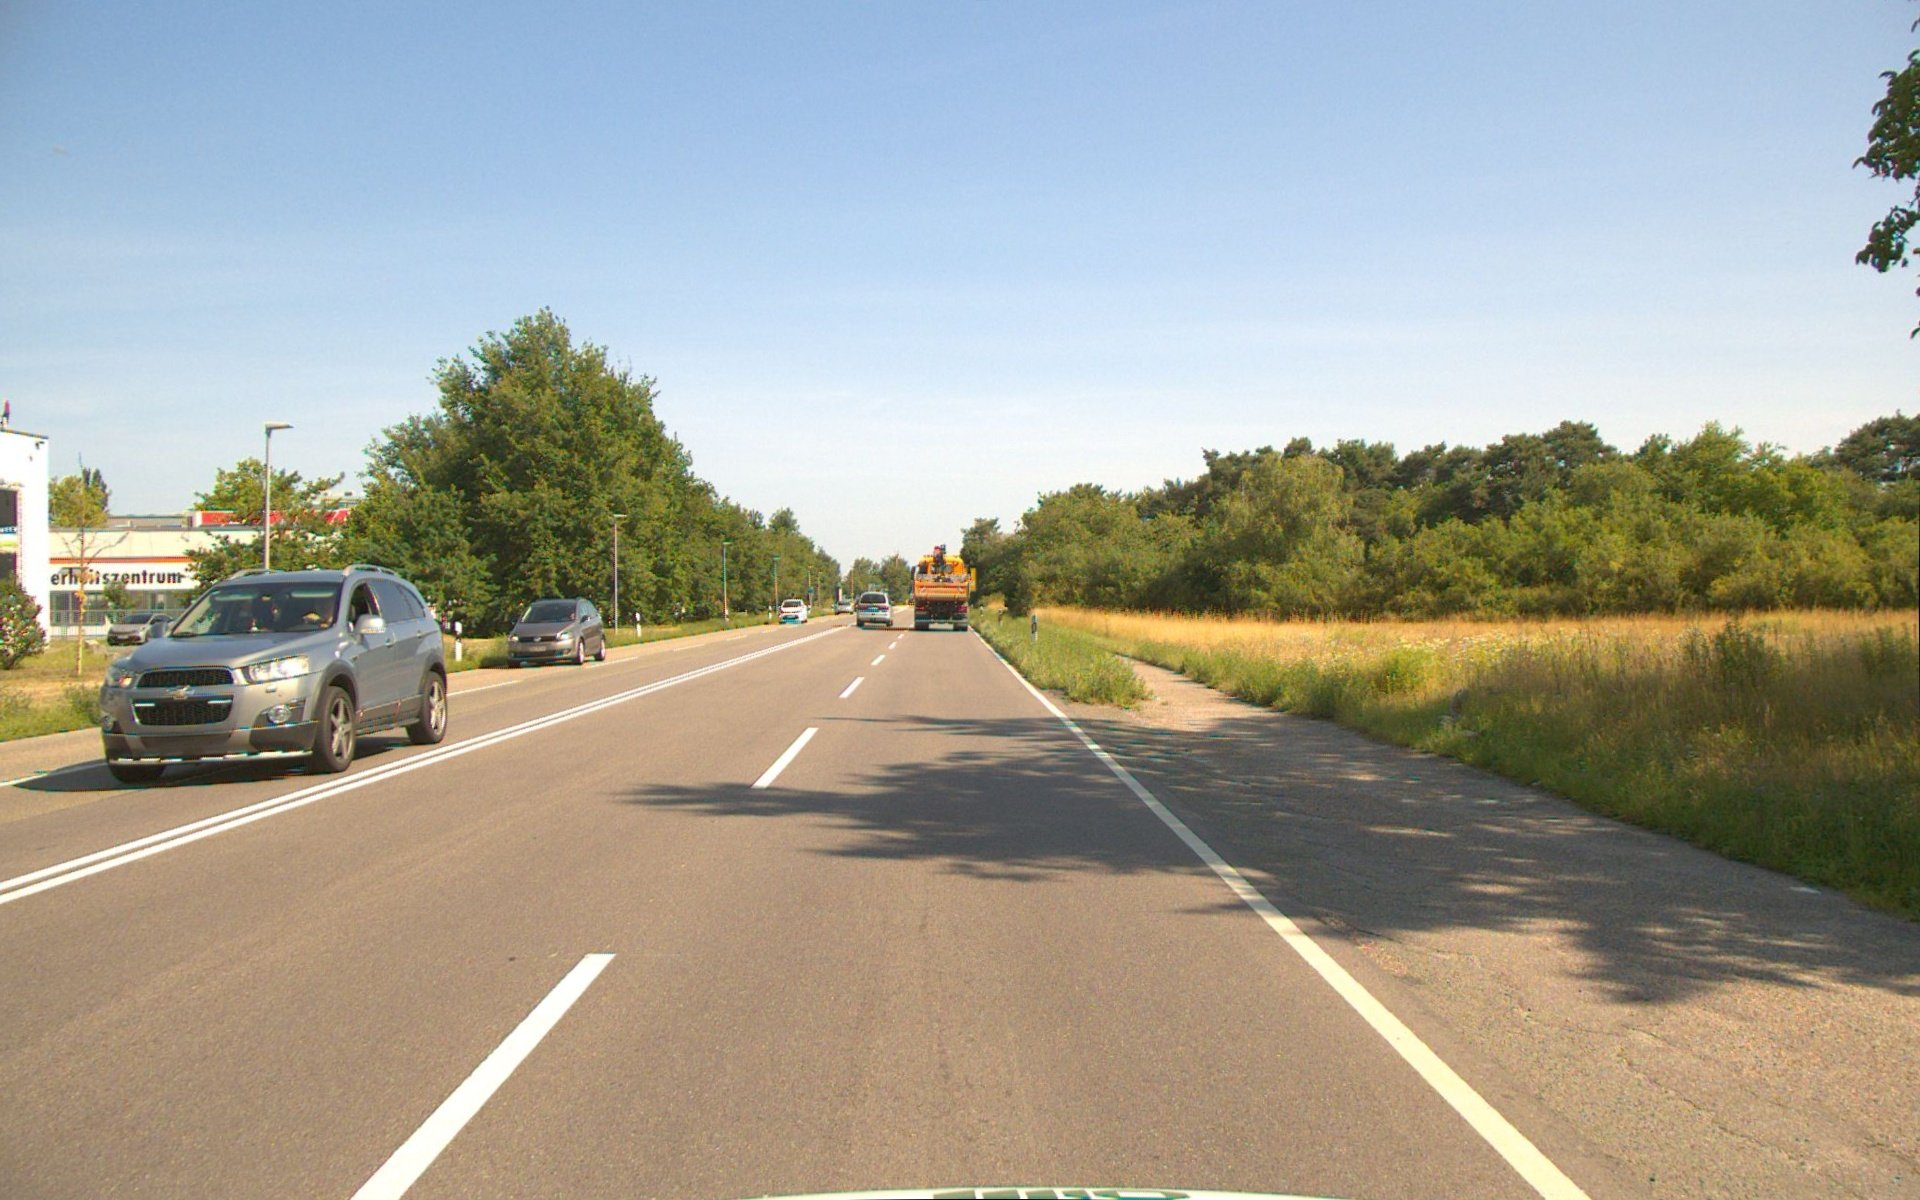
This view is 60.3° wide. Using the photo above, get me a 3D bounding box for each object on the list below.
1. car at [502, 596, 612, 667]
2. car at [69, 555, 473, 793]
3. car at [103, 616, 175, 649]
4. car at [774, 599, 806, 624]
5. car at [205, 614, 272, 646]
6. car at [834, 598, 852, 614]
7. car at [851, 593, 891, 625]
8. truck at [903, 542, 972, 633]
[{"bbox_3d":[-9.716,0.721,40.197,1.694,1.588,4.214,-1,0,-1],"label":"car"},{"bbox_3d":[-5.952,0.555,14.962,1.736,1.744,4.568,-3,0,-1],"label":"car"},{"bbox_3d":[-38.487,1.503,77.612,1.603,1.435,3.722,-1,0,-1],"label":"car"},{"bbox_3d":[-10.665,0.697,104.135,1.625,1.462,3.734,-3,0,-1],"label":"car"},{"bbox_3d":[-34.113,1.389,78.262,1.603,1.414,3.722,-1,0,-1],"label":"car"},{"bbox_3d":[-11.775,0.594,166.999,1.566,1.467,3.999,-3,0,-1],"label":"car"},{"bbox_3d":[-4.498,0.435,83.590,1.954,1.611,3.998,0,0,-3],"label":"car"},{"bbox_3d":[-1.124,-0.556,76.547,2.815,3.948,7.395,1,0,-3],"label":"truck"}]
